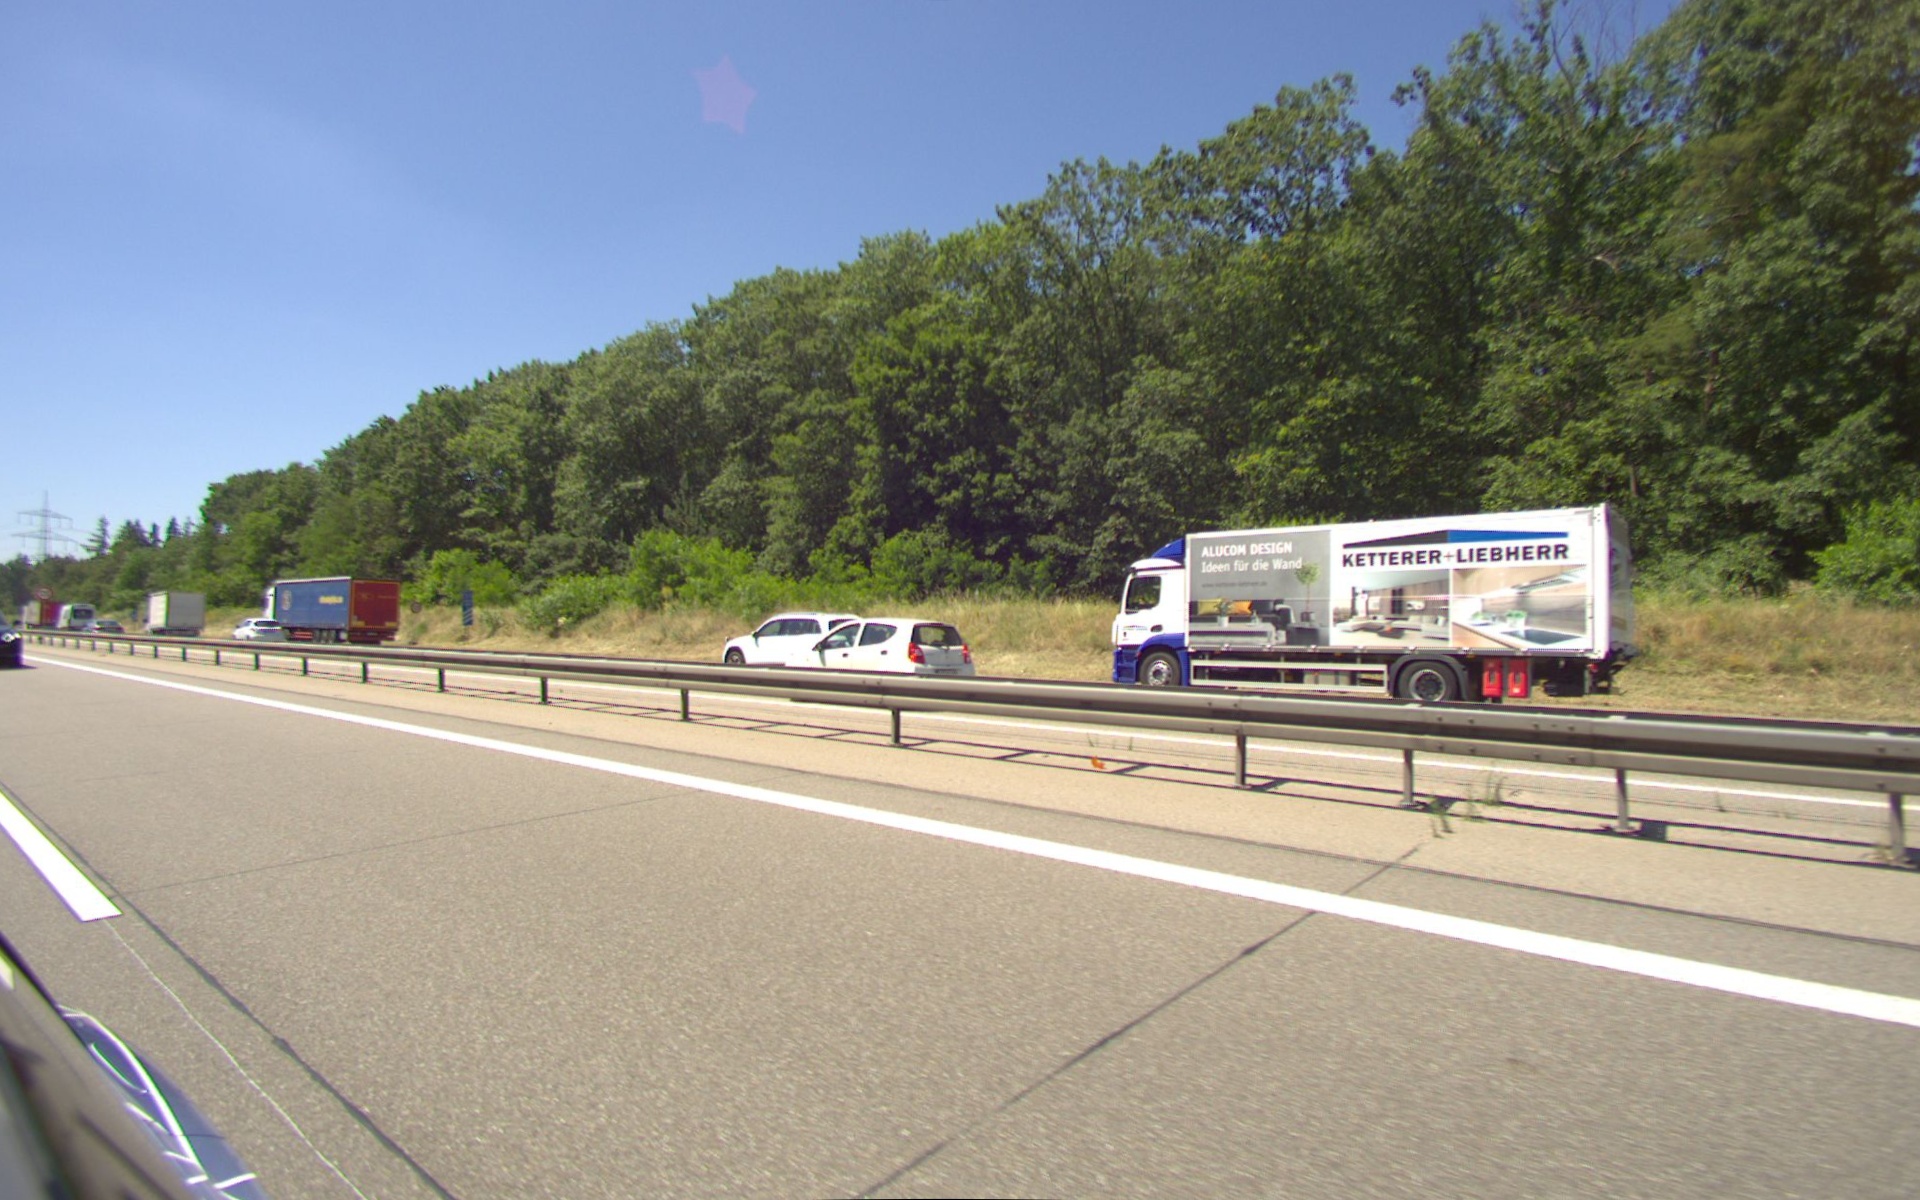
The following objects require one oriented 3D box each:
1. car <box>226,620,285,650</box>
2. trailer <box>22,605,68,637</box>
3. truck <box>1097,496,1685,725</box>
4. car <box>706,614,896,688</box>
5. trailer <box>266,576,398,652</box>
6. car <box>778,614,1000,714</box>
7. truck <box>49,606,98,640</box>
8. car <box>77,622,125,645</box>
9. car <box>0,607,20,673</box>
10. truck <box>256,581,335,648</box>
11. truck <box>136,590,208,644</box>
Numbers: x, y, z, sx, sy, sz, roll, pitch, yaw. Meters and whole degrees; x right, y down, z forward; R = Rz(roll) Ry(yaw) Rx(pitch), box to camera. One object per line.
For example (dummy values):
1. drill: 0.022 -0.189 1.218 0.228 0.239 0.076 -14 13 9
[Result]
1. car: -39.151 1.921 56.235 4.467 1.571 1.587 -1 -4 41
2. trailer: -126.398 2.971 139.750 14.539 4.151 2.783 -1 -4 41
3. truck: 7.891 0.305 20.155 10.437 3.545 2.703 -1 -4 41
4. car: -4.006 1.221 24.944 5.085 1.659 1.709 -1 -4 41
5. trailer: -37.565 0.891 60.160 14.361 4.045 2.479 -1 -4 42
6. car: -1.235 1.009 16.704 3.638 1.478 1.500 -1 -4 41
7. truck: -75.397 1.968 85.987 8.028 2.643 2.060 -1 -4 42
8. car: -55.314 2.144 65.149 4.541 1.410 1.587 -1 -4 41
9. car: -28.301 1.130 28.608 5.809 1.765 1.920 -1 -1 41
10. truck: -42.287 0.970 64.343 6.122 4.045 2.479 -1 -4 41
11. truck: -56.575 1.232 72.574 8.116 3.634 2.431 -1 -4 42
